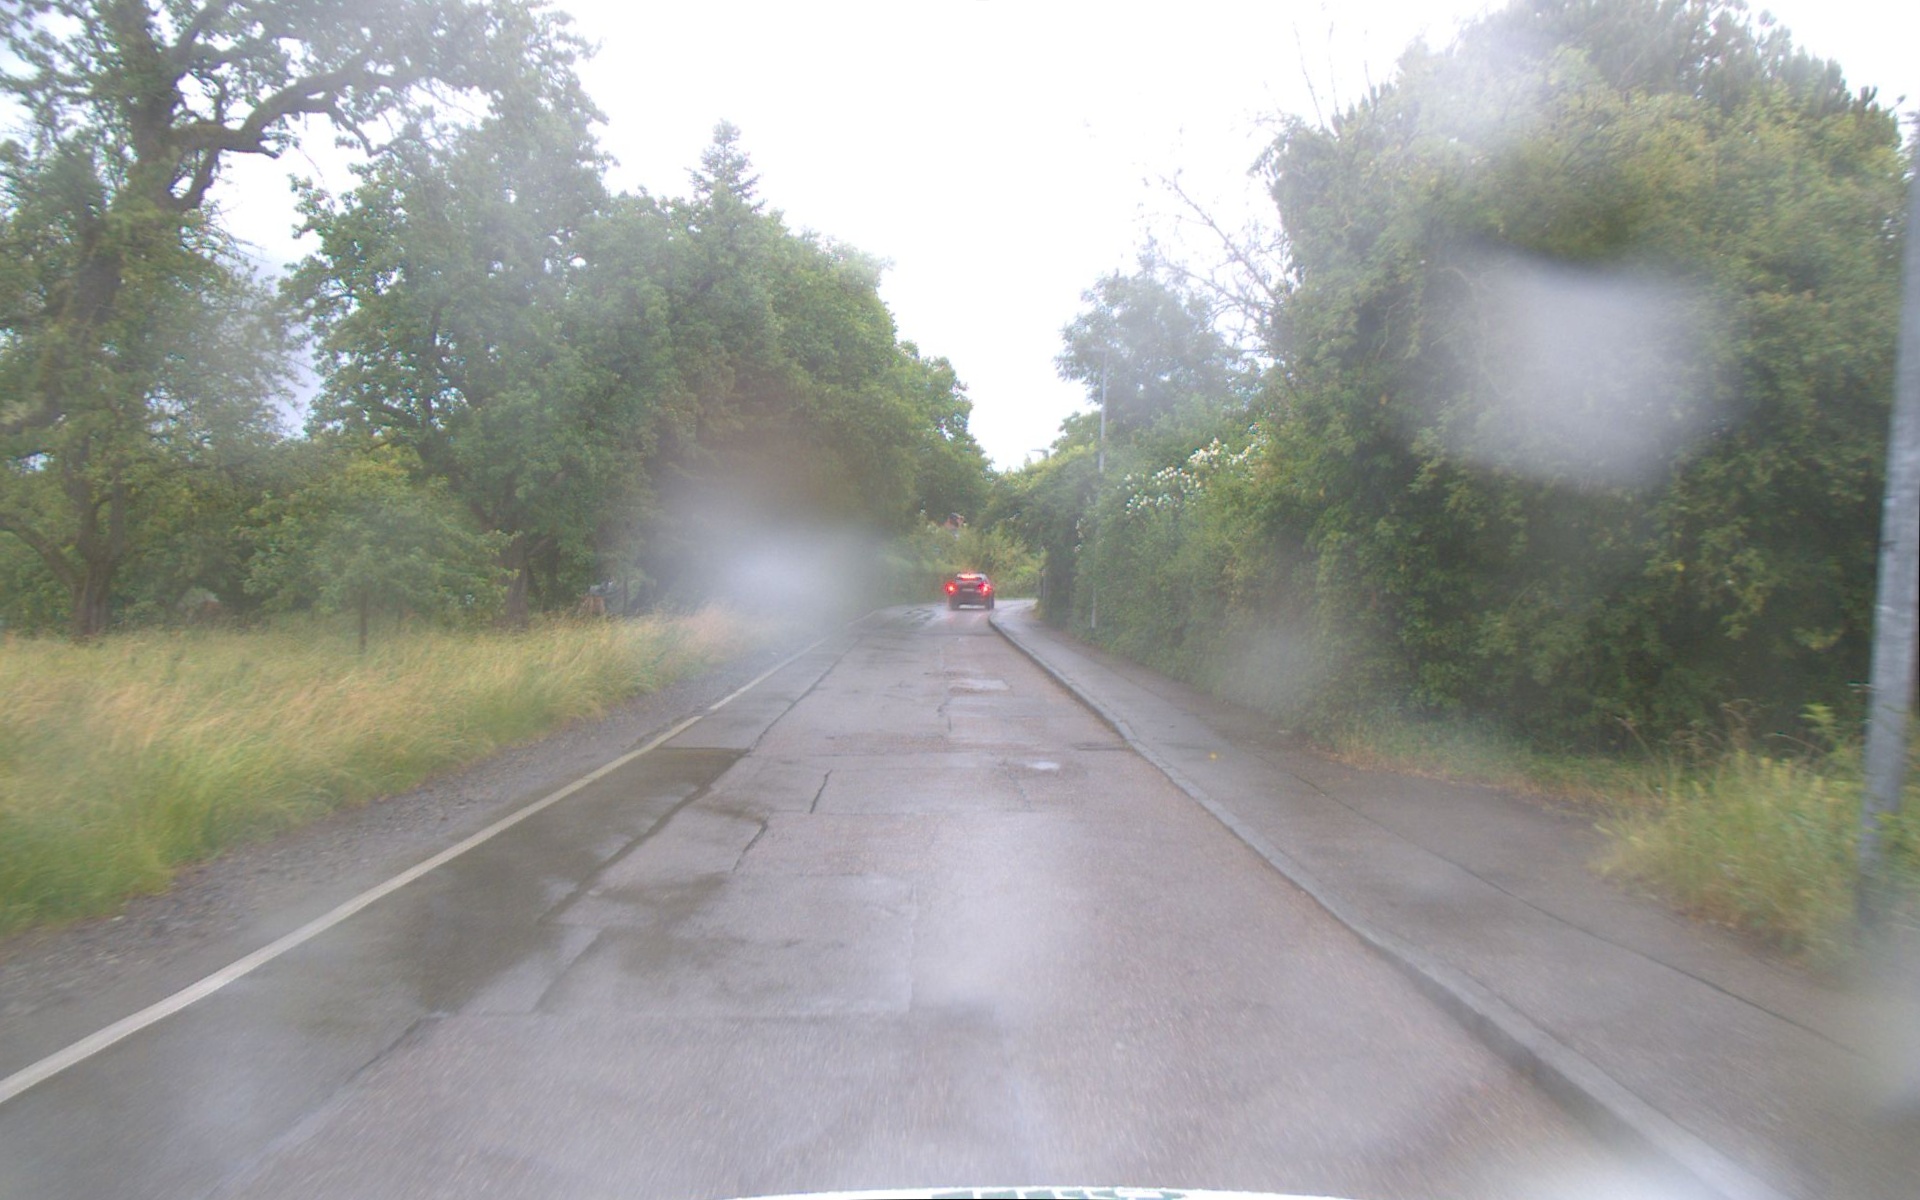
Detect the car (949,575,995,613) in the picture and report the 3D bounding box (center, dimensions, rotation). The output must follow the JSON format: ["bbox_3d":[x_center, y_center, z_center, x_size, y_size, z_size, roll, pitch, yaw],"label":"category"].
[{"bbox_3d":[0.514,-0.236,69.703,1.600,1.475,3.546,2,-1,5],"label":"car"}]
